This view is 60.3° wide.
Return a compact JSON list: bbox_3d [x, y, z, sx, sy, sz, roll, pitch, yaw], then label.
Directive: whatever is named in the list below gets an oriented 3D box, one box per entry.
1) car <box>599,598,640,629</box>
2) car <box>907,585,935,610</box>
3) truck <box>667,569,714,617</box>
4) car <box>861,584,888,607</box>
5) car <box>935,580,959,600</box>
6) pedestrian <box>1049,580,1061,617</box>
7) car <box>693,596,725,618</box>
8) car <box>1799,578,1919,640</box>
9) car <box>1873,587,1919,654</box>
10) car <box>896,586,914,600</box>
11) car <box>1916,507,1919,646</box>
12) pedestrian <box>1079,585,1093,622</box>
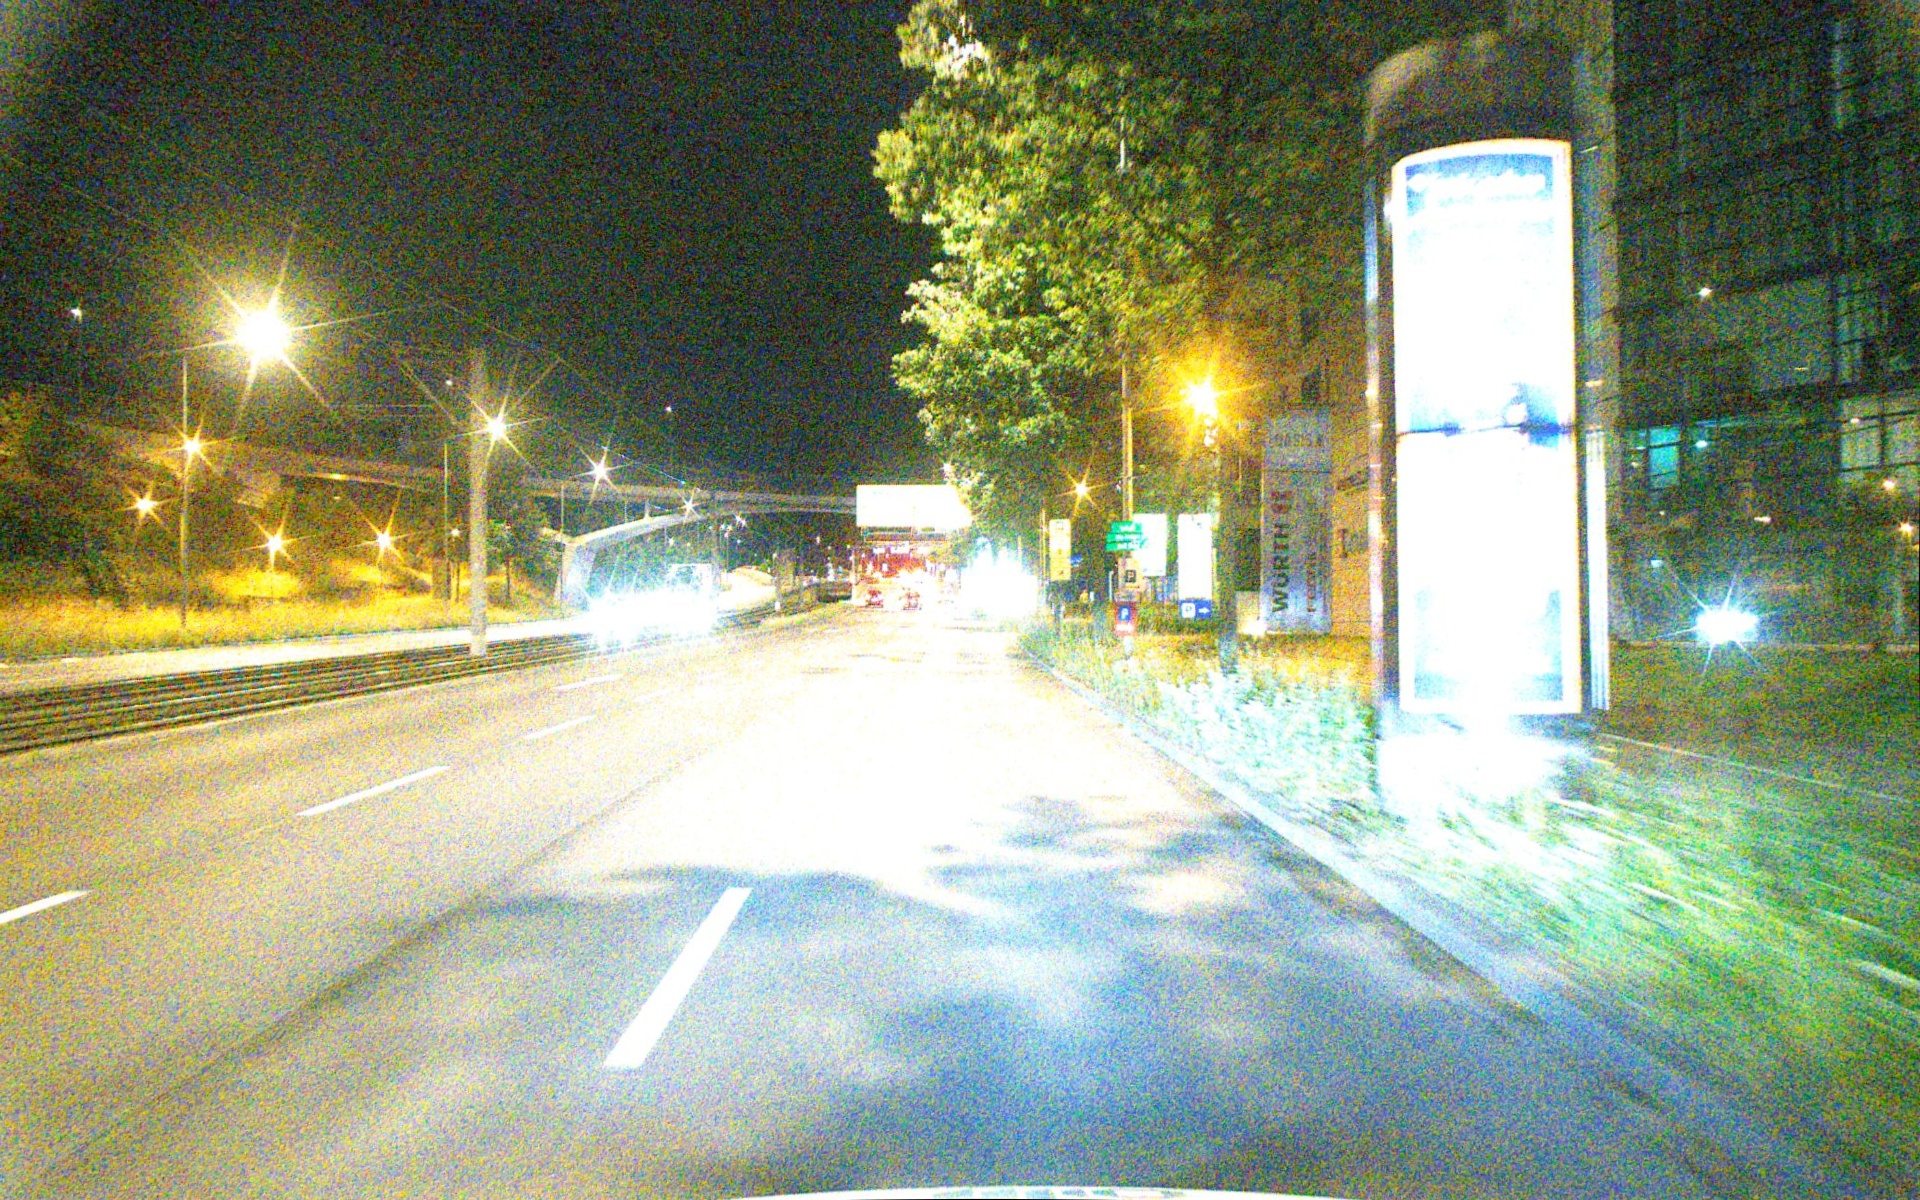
[{"bbox_3d":[-20.755,0.816,100.867,1.825,1.780,3.700,0,1,-1],"label":"car"},{"bbox_3d":[-3.583,-0.247,152.229,2.307,2.166,4.828,0,1,2],"label":"car"},{"bbox_3d":[-21.937,-0.617,134.884,2.979,3.886,4.935,0,1,-1],"label":"truck"},{"bbox_3d":[-8.122,-0.449,157.581,2.215,2.049,4.828,0,1,2],"label":"car"},{"bbox_3d":[-1.423,-1.134,183.393,2.377,2.150,4.828,0,1,2],"label":"car"},{"bbox_3d":[6.458,-0.093,112.618,0.729,2.477,0.780,1,0,2],"label":"pedestrian"},{"bbox_3d":[-18.691,0.510,123.257,1.872,1.499,3.771,0,1,-1],"label":"car"},{"bbox_3d":[17.590,0.146,31.247,3.381,1.113,1.312,0,1,-25],"label":"car"},{"bbox_3d":[17.415,0.338,28.558,3.120,1.104,1.291,0,1,-25],"label":"car"},{"bbox_3d":[-6.313,-0.823,191.125,1.953,1.580,3.999,0,0,-1],"label":"car"},{"bbox_3d":[15.142,-0.318,22.451,3.715,1.895,1.985,0,1,-24],"label":"car"},{"bbox_3d":[7.205,0.213,94.620,0.746,2.099,0.643,0,1,-1],"label":"pedestrian"}]
